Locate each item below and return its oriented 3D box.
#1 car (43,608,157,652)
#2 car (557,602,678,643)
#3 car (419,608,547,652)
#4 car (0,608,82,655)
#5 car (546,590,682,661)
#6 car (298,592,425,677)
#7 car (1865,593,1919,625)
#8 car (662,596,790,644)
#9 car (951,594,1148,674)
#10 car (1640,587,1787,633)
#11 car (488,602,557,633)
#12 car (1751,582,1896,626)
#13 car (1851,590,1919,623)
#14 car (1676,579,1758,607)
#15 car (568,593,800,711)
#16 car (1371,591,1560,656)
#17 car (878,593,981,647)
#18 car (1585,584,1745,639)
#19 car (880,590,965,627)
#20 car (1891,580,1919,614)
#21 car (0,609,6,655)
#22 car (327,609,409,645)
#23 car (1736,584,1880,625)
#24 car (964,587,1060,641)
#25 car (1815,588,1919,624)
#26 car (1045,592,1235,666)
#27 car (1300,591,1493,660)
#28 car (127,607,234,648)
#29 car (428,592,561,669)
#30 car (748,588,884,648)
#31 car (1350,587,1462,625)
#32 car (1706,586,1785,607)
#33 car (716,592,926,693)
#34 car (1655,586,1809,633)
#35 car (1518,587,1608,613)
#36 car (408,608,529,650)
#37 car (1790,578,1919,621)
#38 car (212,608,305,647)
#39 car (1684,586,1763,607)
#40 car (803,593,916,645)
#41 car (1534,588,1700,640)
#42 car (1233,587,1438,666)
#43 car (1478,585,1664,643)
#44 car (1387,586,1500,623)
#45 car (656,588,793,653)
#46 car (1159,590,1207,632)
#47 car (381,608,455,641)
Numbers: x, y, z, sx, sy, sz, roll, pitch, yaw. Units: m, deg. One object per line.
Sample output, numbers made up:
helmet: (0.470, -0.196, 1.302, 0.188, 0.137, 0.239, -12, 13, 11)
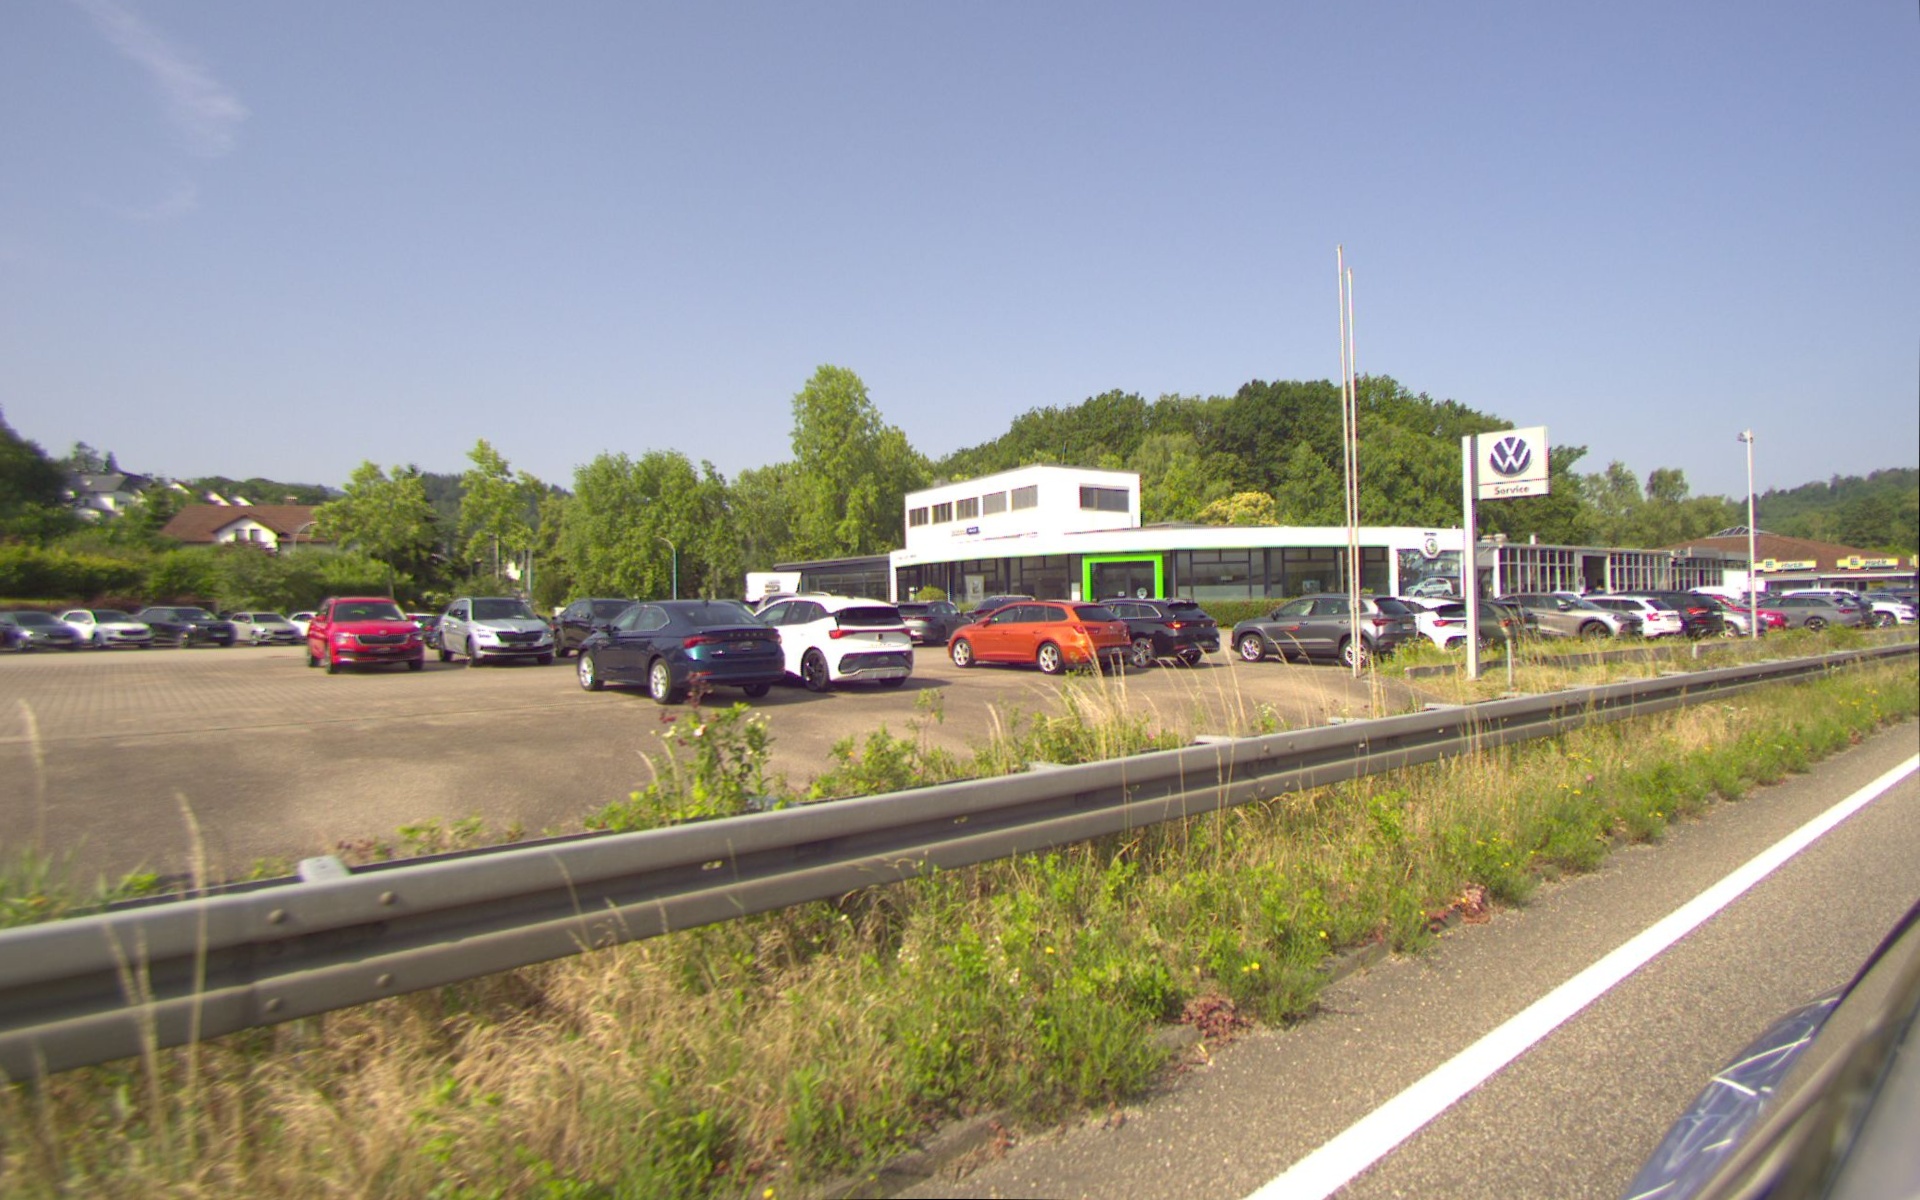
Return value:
car: (-33.671, 1.132, 39.604, 4.705, 1.565, 1.760, 0, 1, 27)
car: (-14.573, 0.932, 43.199, 4.533, 1.565, 1.999, -1, 1, -43)
car: (-19.144, 1.174, 40.657, 4.381, 1.565, 1.839, -1, 1, -37)
car: (-34.589, 1.106, 37.208, 4.702, 1.565, 1.761, 0, 1, 26)
car: (-8.799, 0.560, 25.492, 1.896, 1.584, 4.750, -1, 1, -37)
car: (-13.071, 0.642, 21.963, 1.896, 1.584, 4.750, -1, 1, -37)
car: (44.473, 0.423, 46.688, 1.745, 1.446, 3.746, -1, 0, -34)
car: (-8.576, 0.684, 37.481, 1.989, 1.565, 4.556, 0, 1, 33)
car: (1.742, 0.634, 20.882, 1.792, 1.464, 3.996, -1, 0, -39)
car: (25.809, 0.289, 34.784, 1.632, 1.477, 3.745, 0, 1, -33)
car: (-24.162, 0.910, 55.819, 4.735, 1.565, 1.749, 1, 1, 43)
car: (34.072, 0.133, 40.020, 1.884, 1.652, 4.002, 0, 0, -33)
car: (42.086, 0.259, 44.750, 1.788, 1.424, 3.743, -1, 0, -34)
car: (53.667, -0.508, 71.846, 1.756, 1.949, 4.325, 0, 1, -34)
car: (-4.375, 0.677, 15.658, 1.794, 1.535, 4.161, -1, 1, -42)
car: (12.762, 0.536, 25.777, 1.697, 1.513, 4.000, 0, 0, -35)
car: (-0.900, 0.587, 33.360, 1.906, 1.584, 4.724, 0, 1, 18)
car: (22.913, 0.309, 33.038, 1.803, 1.684, 3.895, 0, 1, -30)
car: (-1.664, 0.335, 46.438, 1.777, 1.584, 4.306, 0, 1, 32)
car: (49.041, -0.149, 49.827, 1.913, 1.660, 4.372, -1, 0, -32)
car: (-35.424, 1.098, 35.070, 4.698, 1.565, 1.763, 0, 1, 23)
car: (-29.069, 1.281, 49.658, 4.723, 1.565, 1.754, 1, 1, 36)
car: (32.067, 0.147, 38.352, 1.712, 1.477, 3.852, -1, 0, -33)
car: (1.758, 0.387, 32.434, 1.906, 1.584, 4.724, 0, 1, 18)
car: (39.854, 0.239, 43.796, 1.913, 1.470, 4.000, -1, 0, -34)
car: (3.940, 0.585, 22.628, 1.809, 1.505, 3.996, -1, 0, -39)
car: (10.533, 0.562, 24.651, 1.758, 1.513, 3.997, -1, 0, -37)
car: (-32.320, 1.099, 41.916, 4.707, 1.565, 1.759, 0, 1, 28)
car: (-10.995, 0.617, 23.721, 1.896, 1.584, 4.750, -1, 1, -37)
car: (-4.283, 0.451, 29.490, 1.896, 1.584, 4.750, -1, 1, -37)
car: (19.175, 0.213, 43.755, 1.753, 1.507, 4.731, 0, 1, -17)
car: (58.468, -0.310, 75.381, 1.756, 1.483, 4.327, -1, 1, -32)
car: (-2.543, 0.653, 17.705, 1.792, 1.535, 4.101, -1, 0, -39)
car: (27.751, 0.299, 36.516, 1.747, 1.571, 4.098, 0, 1, -33)
car: (36.358, -0.015, 61.118, 1.757, 1.483, 4.323, -1, 1, -36)
car: (-20.810, 1.194, 42.883, 4.378, 1.565, 1.840, -1, 1, -35)
car: (36.756, -0.021, 41.314, 1.882, 1.652, 4.004, 0, 0, -29)
car: (-31.166, 1.182, 44.933, 4.719, 1.565, 1.818, 1, 1, 34)
car: (56.223, -0.308, 74.600, 1.756, 1.483, 4.327, -1, 1, -32)
car: (-3.349, 0.596, 34.751, 1.909, 1.584, 4.716, 0, 1, 22)
car: (20.534, 0.392, 31.792, 1.688, 1.504, 4.053, 0, 1, -30)
car: (8.486, 0.541, 23.135, 1.761, 1.630, 4.084, 0, 0, -40)
car: (18.218, 0.351, 30.366, 1.821, 1.620, 4.458, -1, 1, -38)
car: (21.571, 0.151, 45.400, 1.753, 1.584, 4.731, 0, 1, -19)
car: (-6.509, 0.470, 27.573, 1.896, 1.584, 4.750, -1, 1, -37)
car: (9.120, 0.398, 41.663, 1.762, 1.584, 4.343, 0, 1, 10)
car: (-27.917, 1.225, 52.066, 4.729, 1.565, 1.751, 1, 1, 40)
